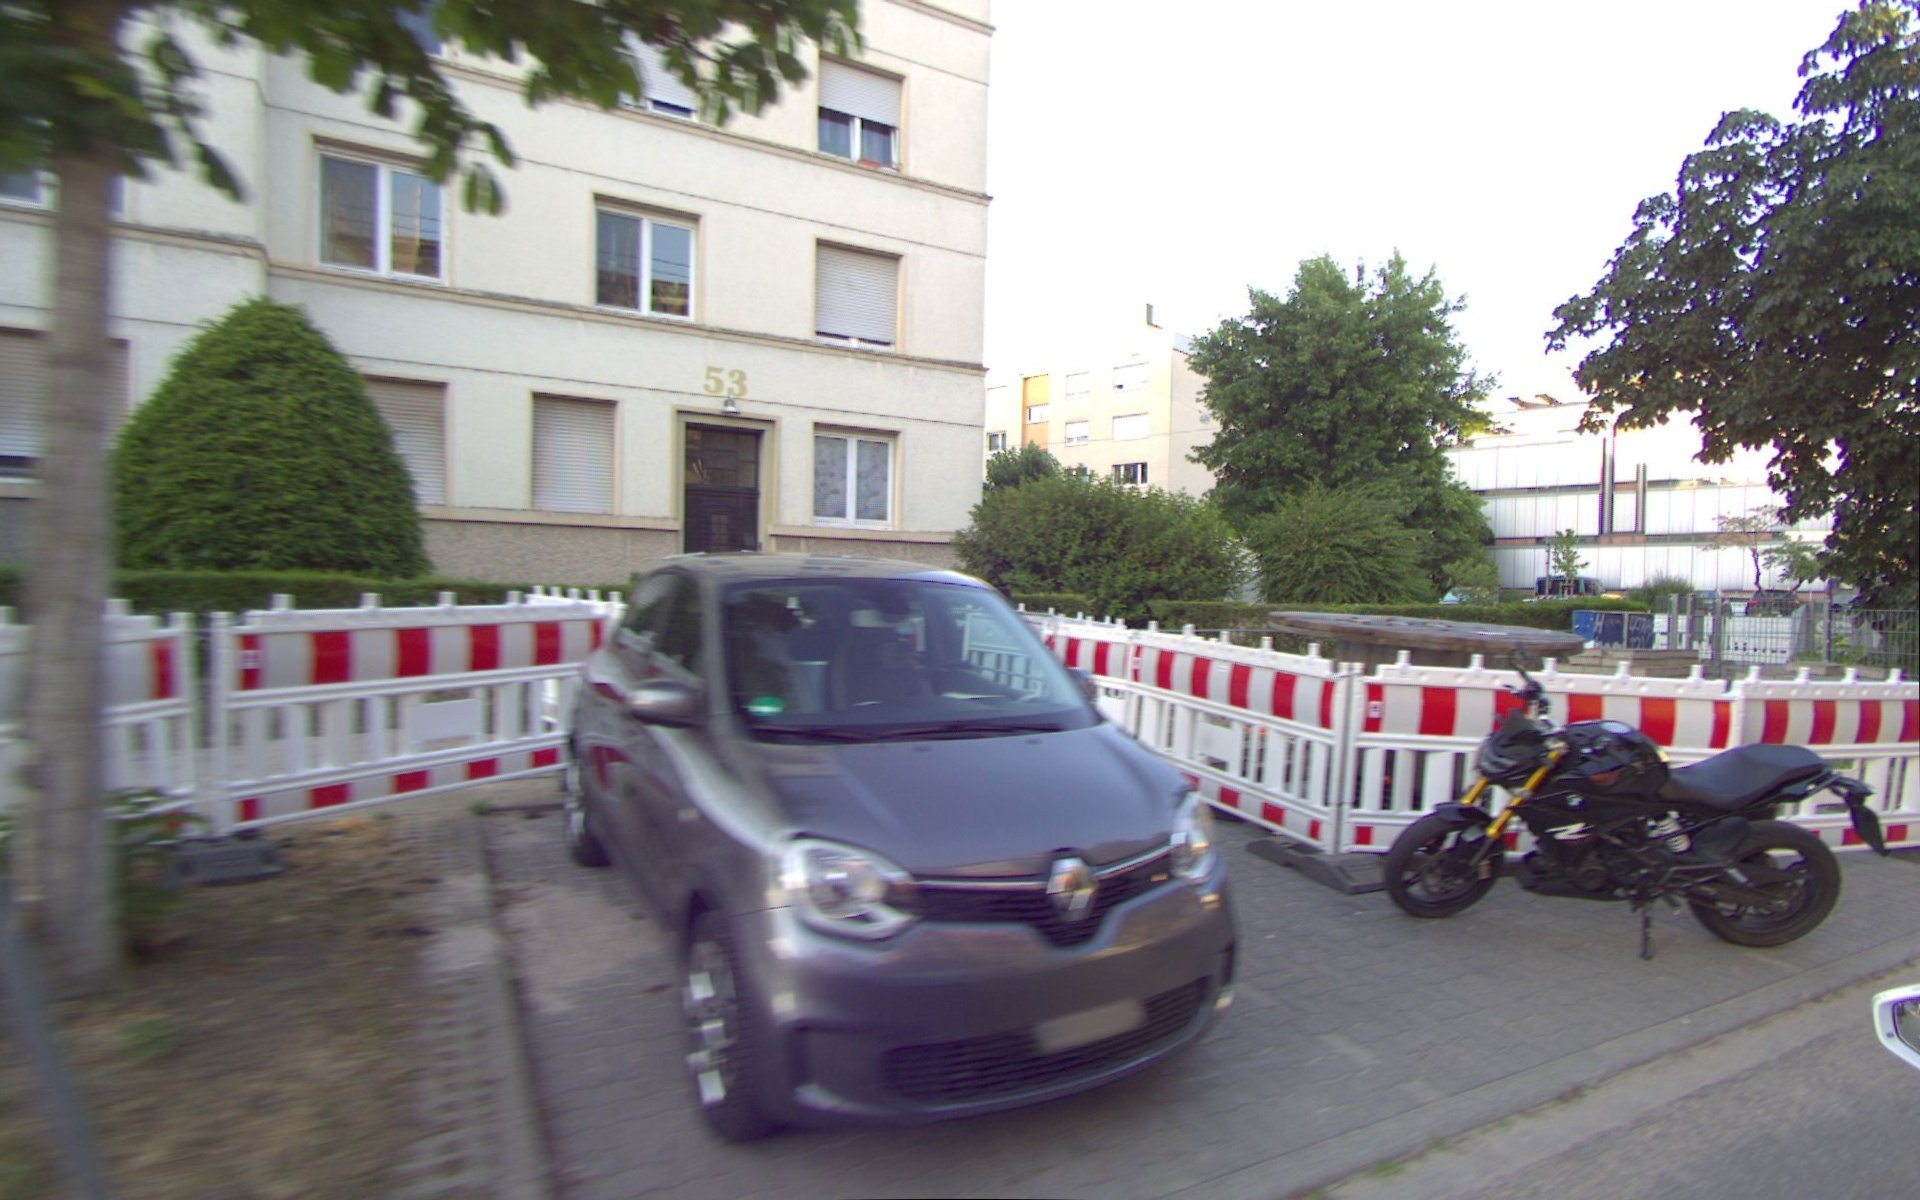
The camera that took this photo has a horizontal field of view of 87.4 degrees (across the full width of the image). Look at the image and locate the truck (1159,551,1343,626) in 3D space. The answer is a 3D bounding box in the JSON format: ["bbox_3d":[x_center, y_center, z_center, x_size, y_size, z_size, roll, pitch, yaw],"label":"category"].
[{"bbox_3d":[10.267,-0.432,35.793,5.953,2.455,2.098,1,2,39],"label":"truck"}]

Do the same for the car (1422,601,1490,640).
[{"bbox_3d":[24.897,0.978,50.356,1.972,1.850,4.202,1,0,43],"label":"car"}]

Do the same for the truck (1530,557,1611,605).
[{"bbox_3d":[28.407,-0.851,46.679,4.481,2.118,2.085,0,0,-44],"label":"truck"}]

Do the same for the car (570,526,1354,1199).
[{"bbox_3d":[-0.466,0.531,4.141,1.672,1.578,3.607,1,3,-29],"label":"car"}]

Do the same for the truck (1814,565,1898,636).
[{"bbox_3d":[36.159,0.002,40.502,2.309,2.652,4.942,1,1,44],"label":"truck"}]

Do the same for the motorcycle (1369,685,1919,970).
[{"bbox_3d":[3.024,0.969,4.423,2.168,1.034,0.539,2,3,0],"label":"motorcycle"}]

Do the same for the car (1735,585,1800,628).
[{"bbox_3d":[34.154,0.252,42.449,1.971,1.715,3.979,1,1,41],"label":"car"}]

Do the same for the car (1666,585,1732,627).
[{"bbox_3d":[32.249,0.241,43.803,1.971,1.750,4.278,1,1,41],"label":"car"}]
